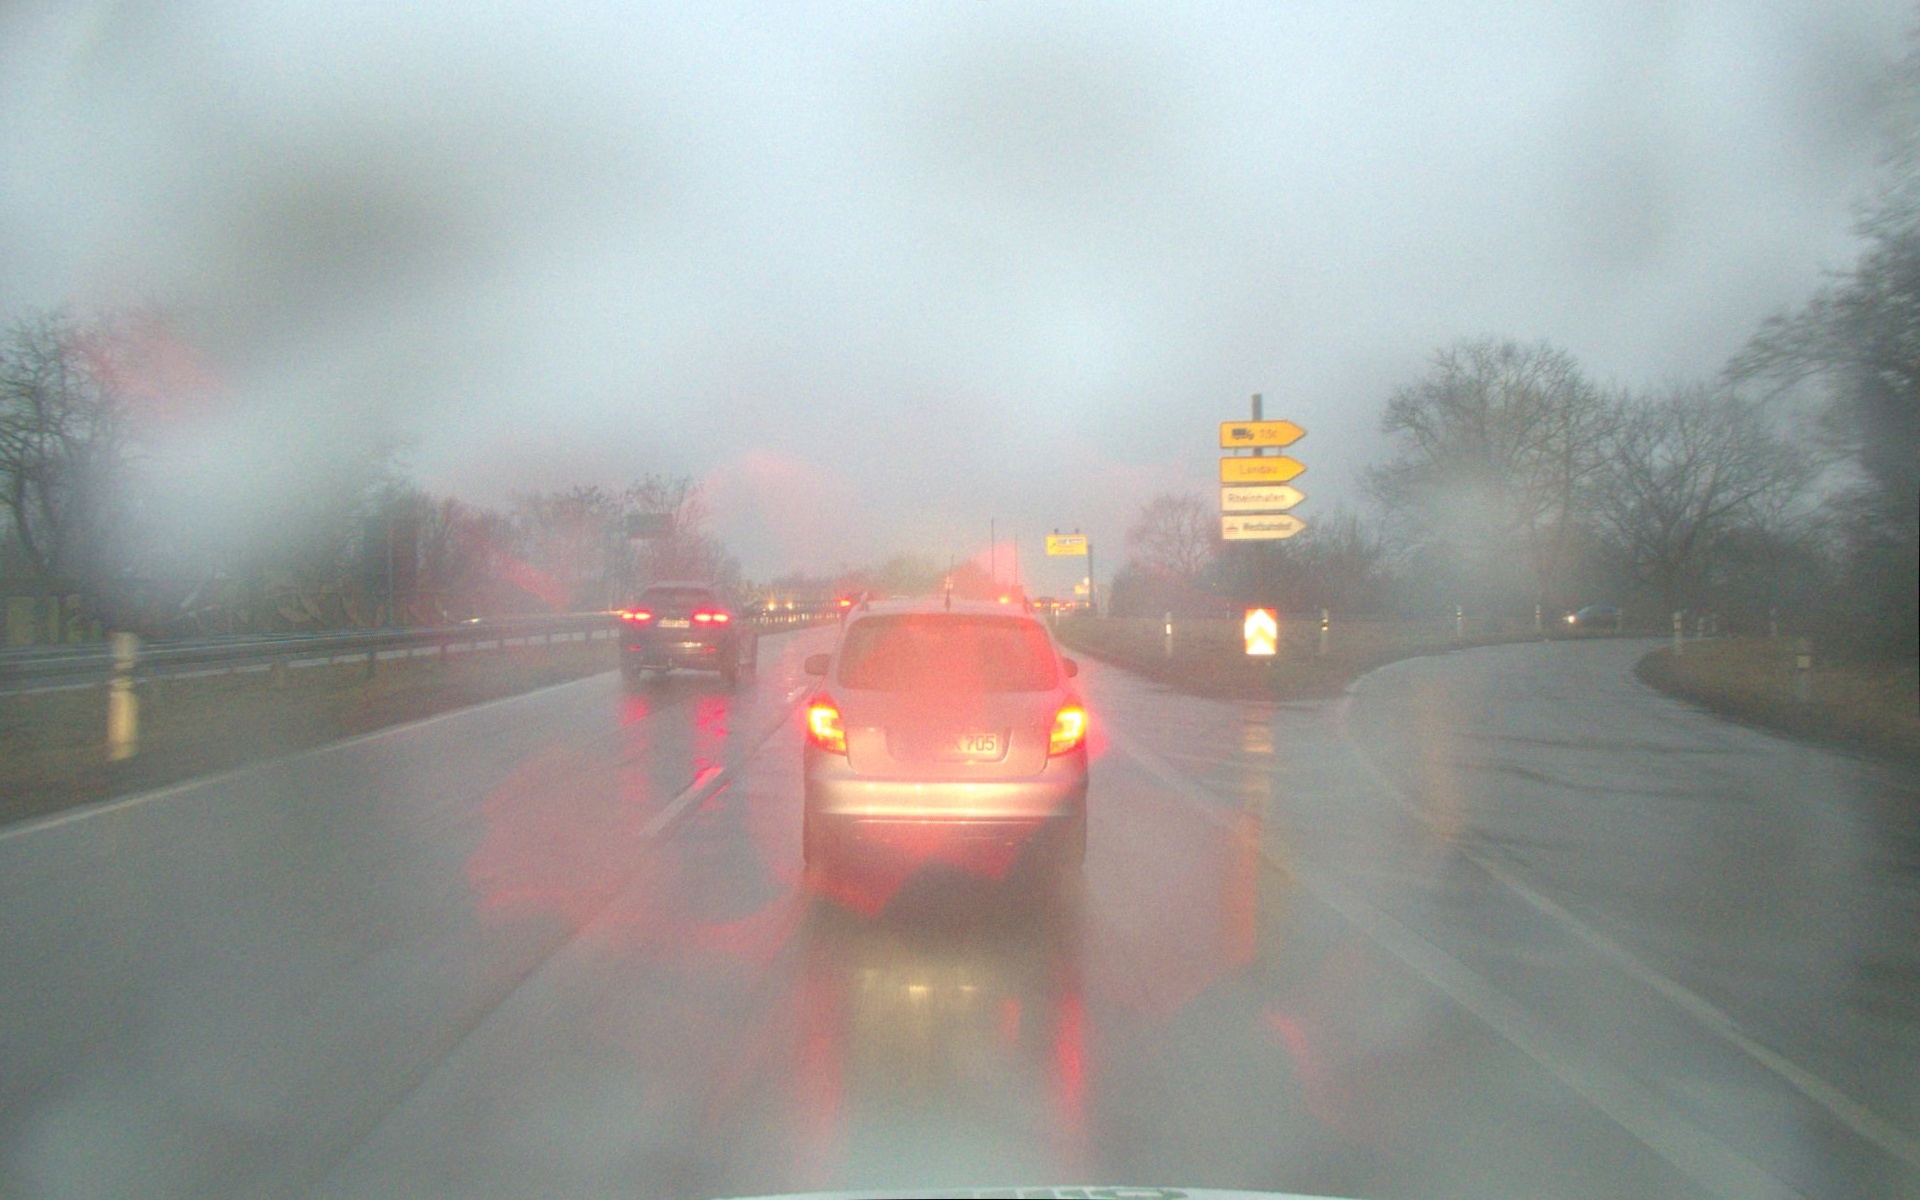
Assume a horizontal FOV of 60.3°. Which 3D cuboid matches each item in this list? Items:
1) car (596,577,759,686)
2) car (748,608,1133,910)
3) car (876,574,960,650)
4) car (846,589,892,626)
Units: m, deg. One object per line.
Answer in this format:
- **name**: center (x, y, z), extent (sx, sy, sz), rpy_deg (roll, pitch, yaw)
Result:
- **car**: center (-4.601, 0.489, 27.597), extent (1.953, 1.629, 4.308), rpy_deg (1, 0, 0)
- **car**: center (-0.044, 0.827, 10.504), extent (1.952, 1.527, 4.138), rpy_deg (0, 0, 1)
- **car**: center (-1.009, 0.270, 41.685), extent (1.858, 1.798, 4.309), rpy_deg (-1, 0, 1)
- **car**: center (-4.097, 0.323, 74.884), extent (1.752, 1.572, 4.001), rpy_deg (-1, 0, 1)
